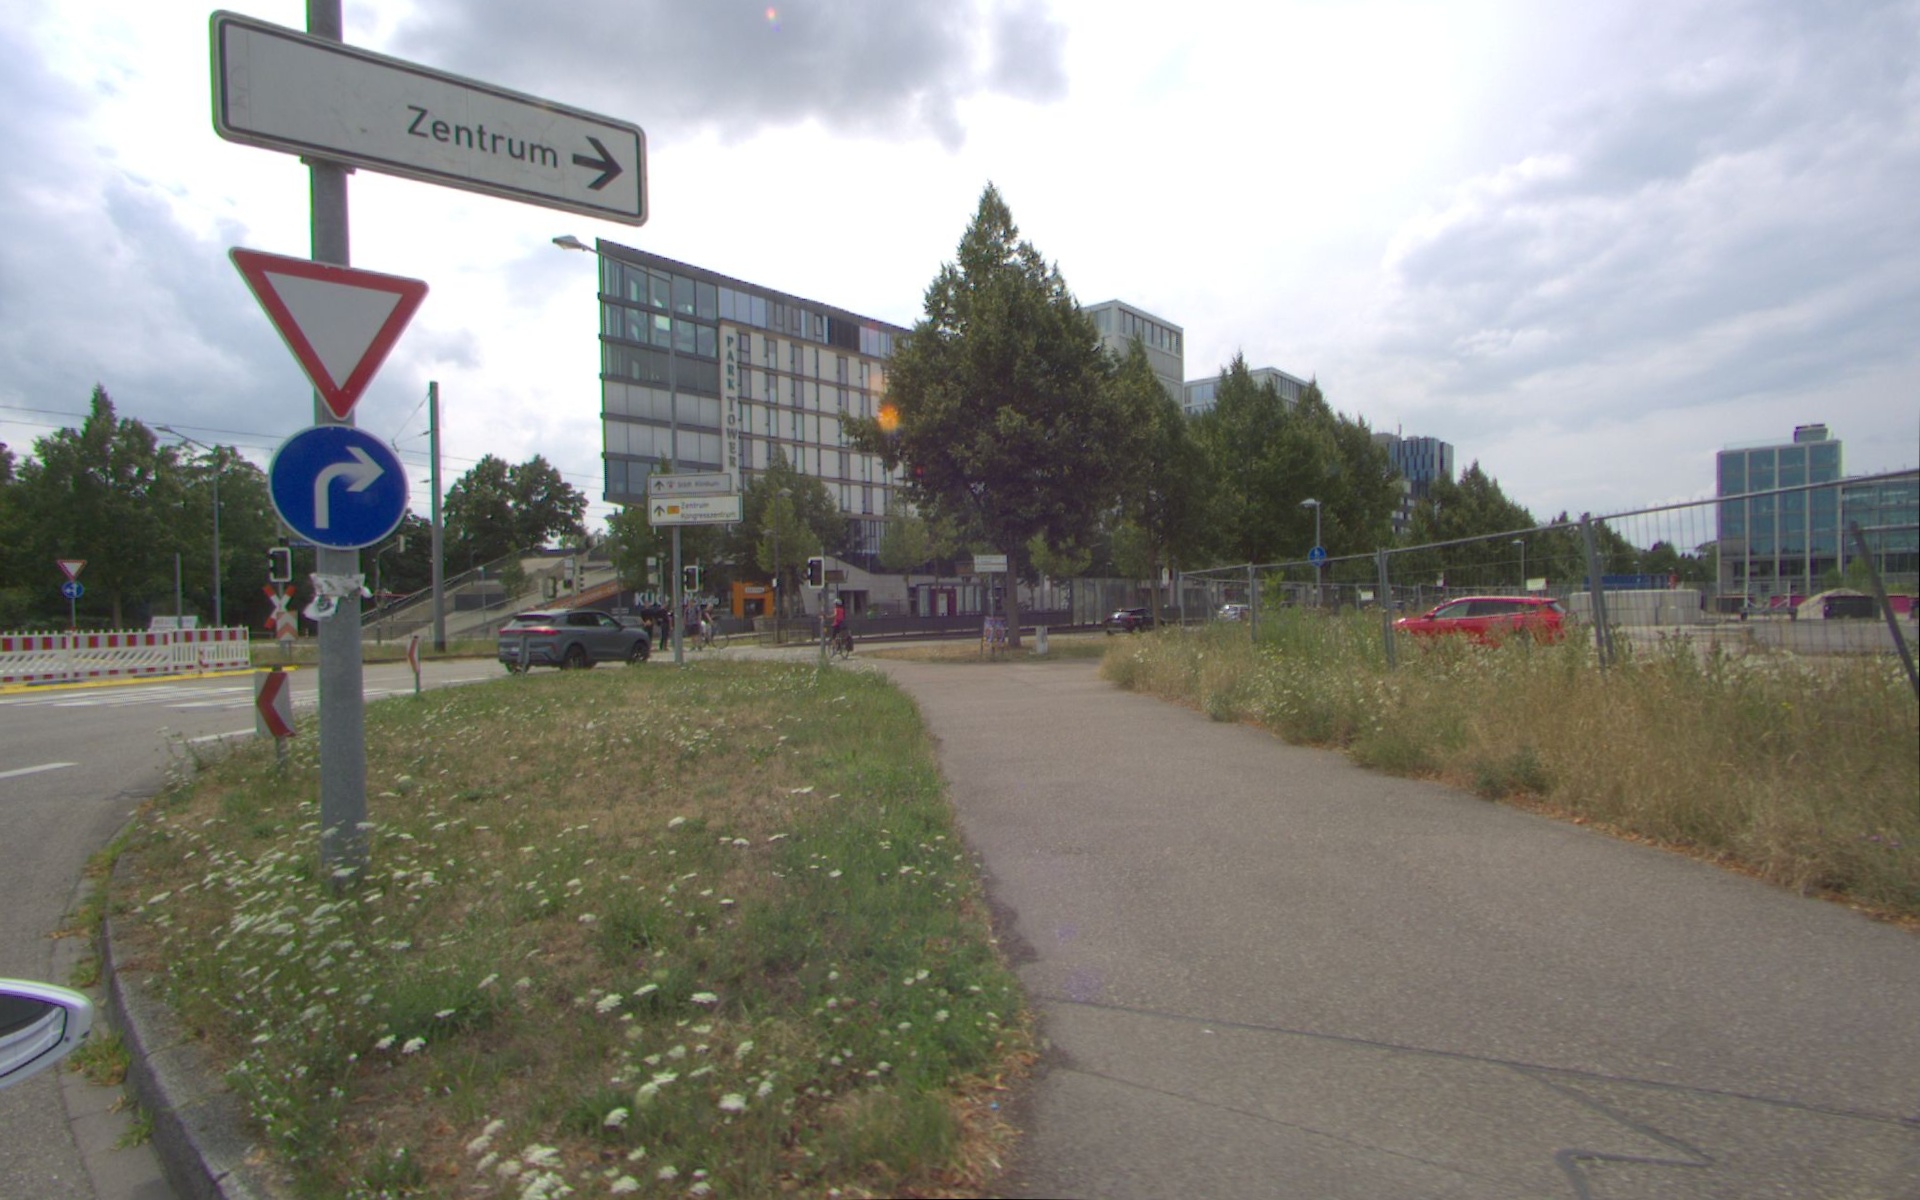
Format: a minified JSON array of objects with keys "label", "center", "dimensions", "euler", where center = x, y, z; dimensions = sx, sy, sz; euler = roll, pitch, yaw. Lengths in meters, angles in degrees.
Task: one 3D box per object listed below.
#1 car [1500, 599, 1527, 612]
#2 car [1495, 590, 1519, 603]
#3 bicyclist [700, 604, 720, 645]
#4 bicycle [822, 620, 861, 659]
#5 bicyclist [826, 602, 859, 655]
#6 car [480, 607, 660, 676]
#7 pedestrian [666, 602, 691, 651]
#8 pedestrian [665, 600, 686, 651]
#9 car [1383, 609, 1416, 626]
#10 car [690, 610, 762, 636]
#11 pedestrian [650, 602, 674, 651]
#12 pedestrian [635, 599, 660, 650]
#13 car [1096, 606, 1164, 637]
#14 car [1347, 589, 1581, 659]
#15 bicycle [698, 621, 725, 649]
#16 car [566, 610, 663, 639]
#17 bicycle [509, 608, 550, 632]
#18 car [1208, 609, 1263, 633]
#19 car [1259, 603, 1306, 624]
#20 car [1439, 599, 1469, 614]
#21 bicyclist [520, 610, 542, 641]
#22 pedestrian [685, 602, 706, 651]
[{"label":"car","center":[68.129,0.678,123.223],"dimensions":[1.977,1.639,4.715],"euler":[-1,-1,40]},{"label":"car","center":[73.511,-0.470,134.566],"dimensions":[1.976,1.639,4.716],"euler":[-1,-1,39]},{"label":"bicyclist","center":[-9.807,0.961,39.333],"dimensions":[0.553,1.601,0.761],"euler":[0,0,-31]},{"label":"bicycle","center":[-3.831,1.265,32.205],"dimensions":[0.778,1.183,2.036],"euler":[-1,0,-20]},{"label":"bicyclist","center":[-3.777,0.890,32.032],"dimensions":[0.778,1.649,1.046],"euler":[-1,0,-22]},{"label":"car","center":[-9.764,0.978,25.493],"dimensions":[2.026,1.571,4.470],"euler":[-1,0,15]},{"label":"pedestrian","center":[-10.401,0.983,37.024],"dimensions":[0.545,1.805,0.686],"euler":[0,0,35]},{"label":"pedestrian","center":[-10.730,0.951,37.769],"dimensions":[0.545,1.886,0.528],"euler":[0,0,35]},{"label":"car","center":[39.665,1.561,90.376],"dimensions":[1.779,1.517,4.087],"euler":[-1,0,38]},{"label":"car","center":[-14.144,1.365,60.615],"dimensions":[1.828,1.477,3.966],"euler":[0,0,42]},{"label":"pedestrian","center":[-11.058,0.989,37.157],"dimensions":[0.545,1.805,0.629],"euler":[0,0,35]},{"label":"pedestrian","center":[-11.368,0.888,36.466],"dimensions":[0.545,1.805,0.686],"euler":[0,0,35]},{"label":"car","center":[9.044,1.130,52.995],"dimensions":[1.721,1.539,4.113],"euler":[-1,0,40]},{"label":"car","center":[12.623,0.604,25.243],"dimensions":[5.070,1.625,1.778],"euler":[-1,-1,35]},{"label":"bicycle","center":[-9.760,1.371,39.263],"dimensions":[0.541,1.072,1.703],"euler":[0,0,-31]},{"label":"car","center":[-18.621,1.307,54.153],"dimensions":[1.828,1.477,4.699],"euler":[0,0,41]},{"label":"bicycle","center":[-19.063,0.885,44.348],"dimensions":[1.727,1.020,0.652],"euler":[0,0,23]},{"label":"car","center":[18.396,1.381,66.711],"dimensions":[1.811,1.482,4.222],"euler":[-1,0,43]},{"label":"car","center":[24.250,0.982,75.151],"dimensions":[1.714,1.554,4.333],"euler":[-1,0,43]},{"label":"car","center":[51.424,0.628,104.204],"dimensions":[1.781,1.517,4.225],"euler":[-1,0,41]},{"label":"bicyclist","center":[-18.989,1.120,44.326],"dimensions":[0.664,1.334,0.638],"euler":[0,0,23]},{"label":"pedestrian","center":[-9.915,1.000,37.535],"dimensions":[0.545,1.805,0.577],"euler":[0,0,35]}]
